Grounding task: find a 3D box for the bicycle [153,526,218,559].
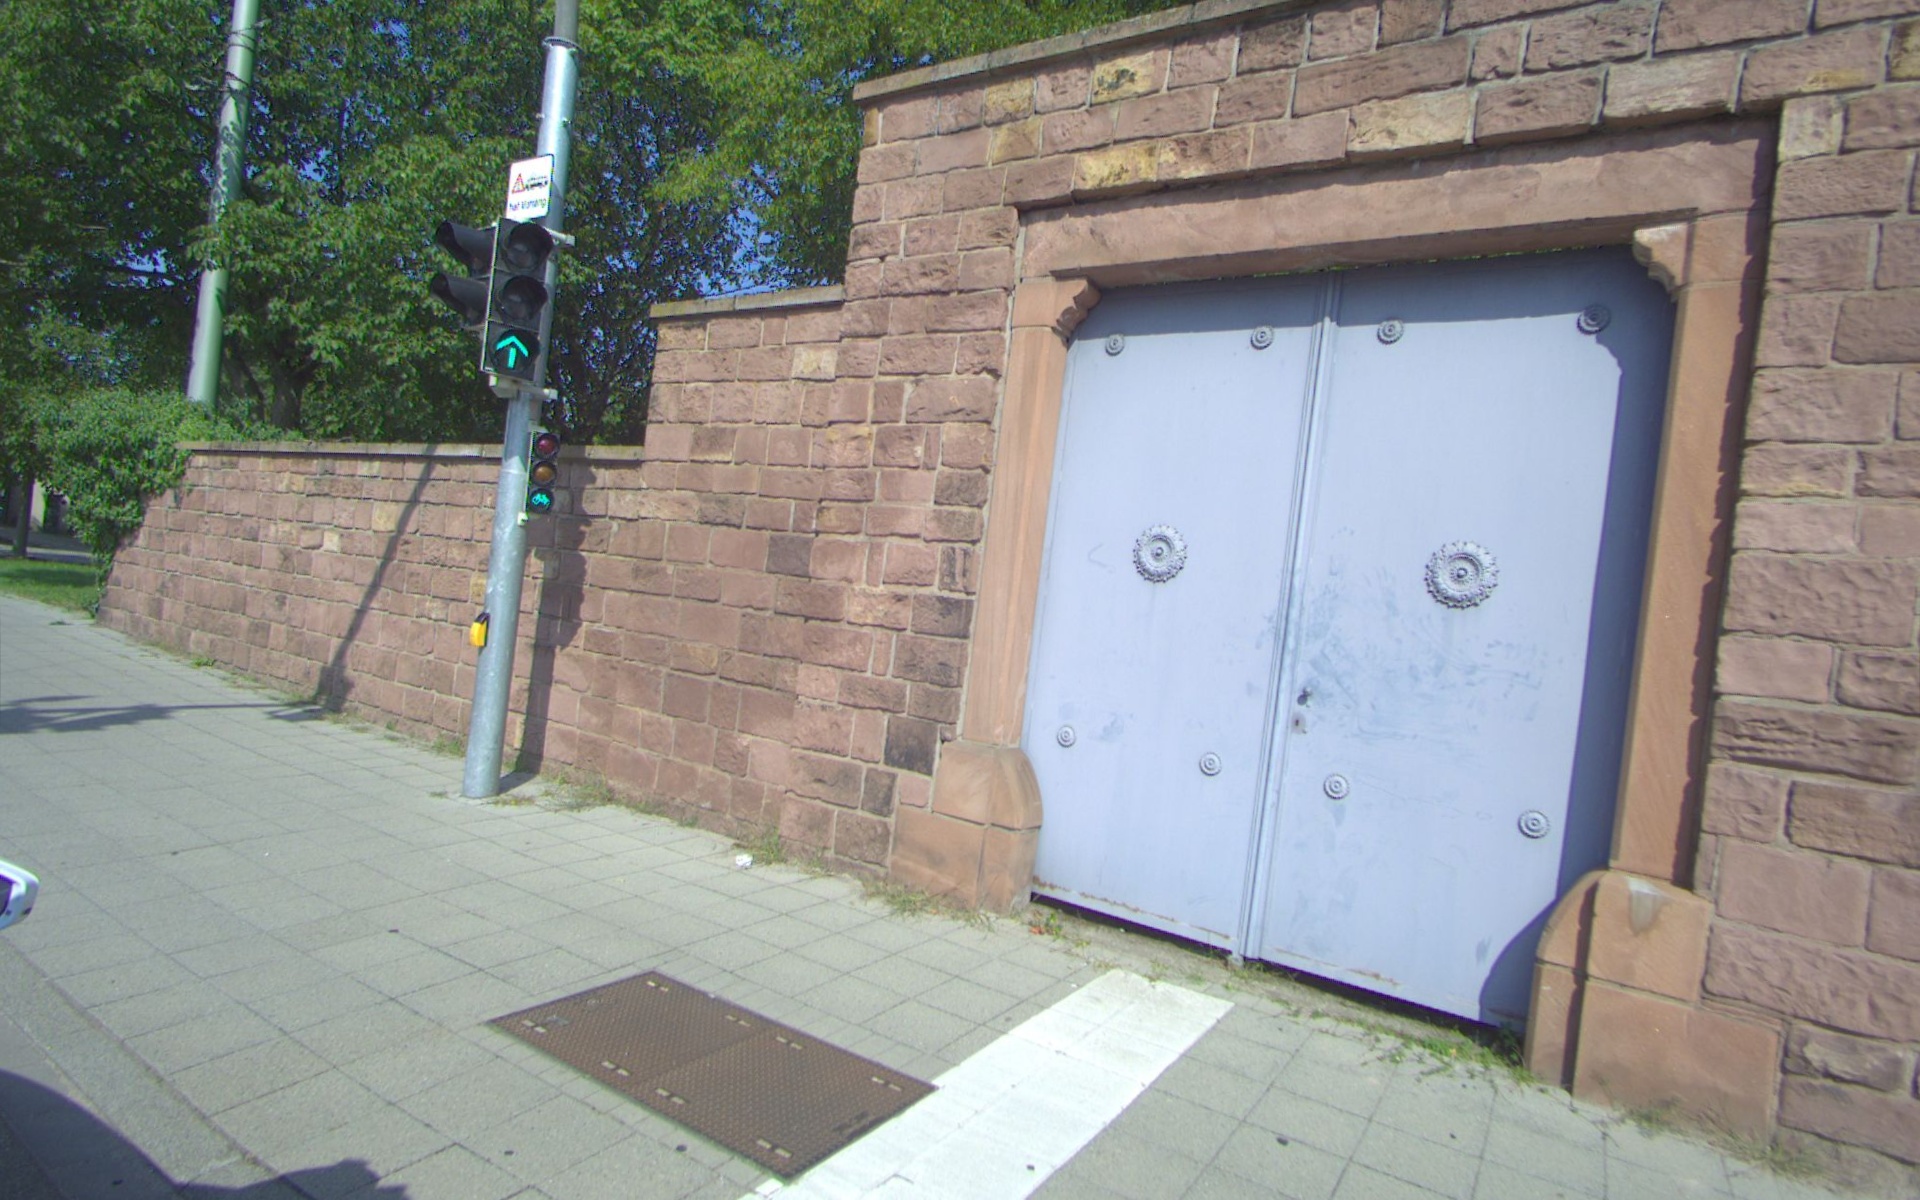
[{"bbox_3d":[-30.320,-2.232,39.393,0.420,0.991,1.907,7,-2,33],"label":"bicycle"}]
